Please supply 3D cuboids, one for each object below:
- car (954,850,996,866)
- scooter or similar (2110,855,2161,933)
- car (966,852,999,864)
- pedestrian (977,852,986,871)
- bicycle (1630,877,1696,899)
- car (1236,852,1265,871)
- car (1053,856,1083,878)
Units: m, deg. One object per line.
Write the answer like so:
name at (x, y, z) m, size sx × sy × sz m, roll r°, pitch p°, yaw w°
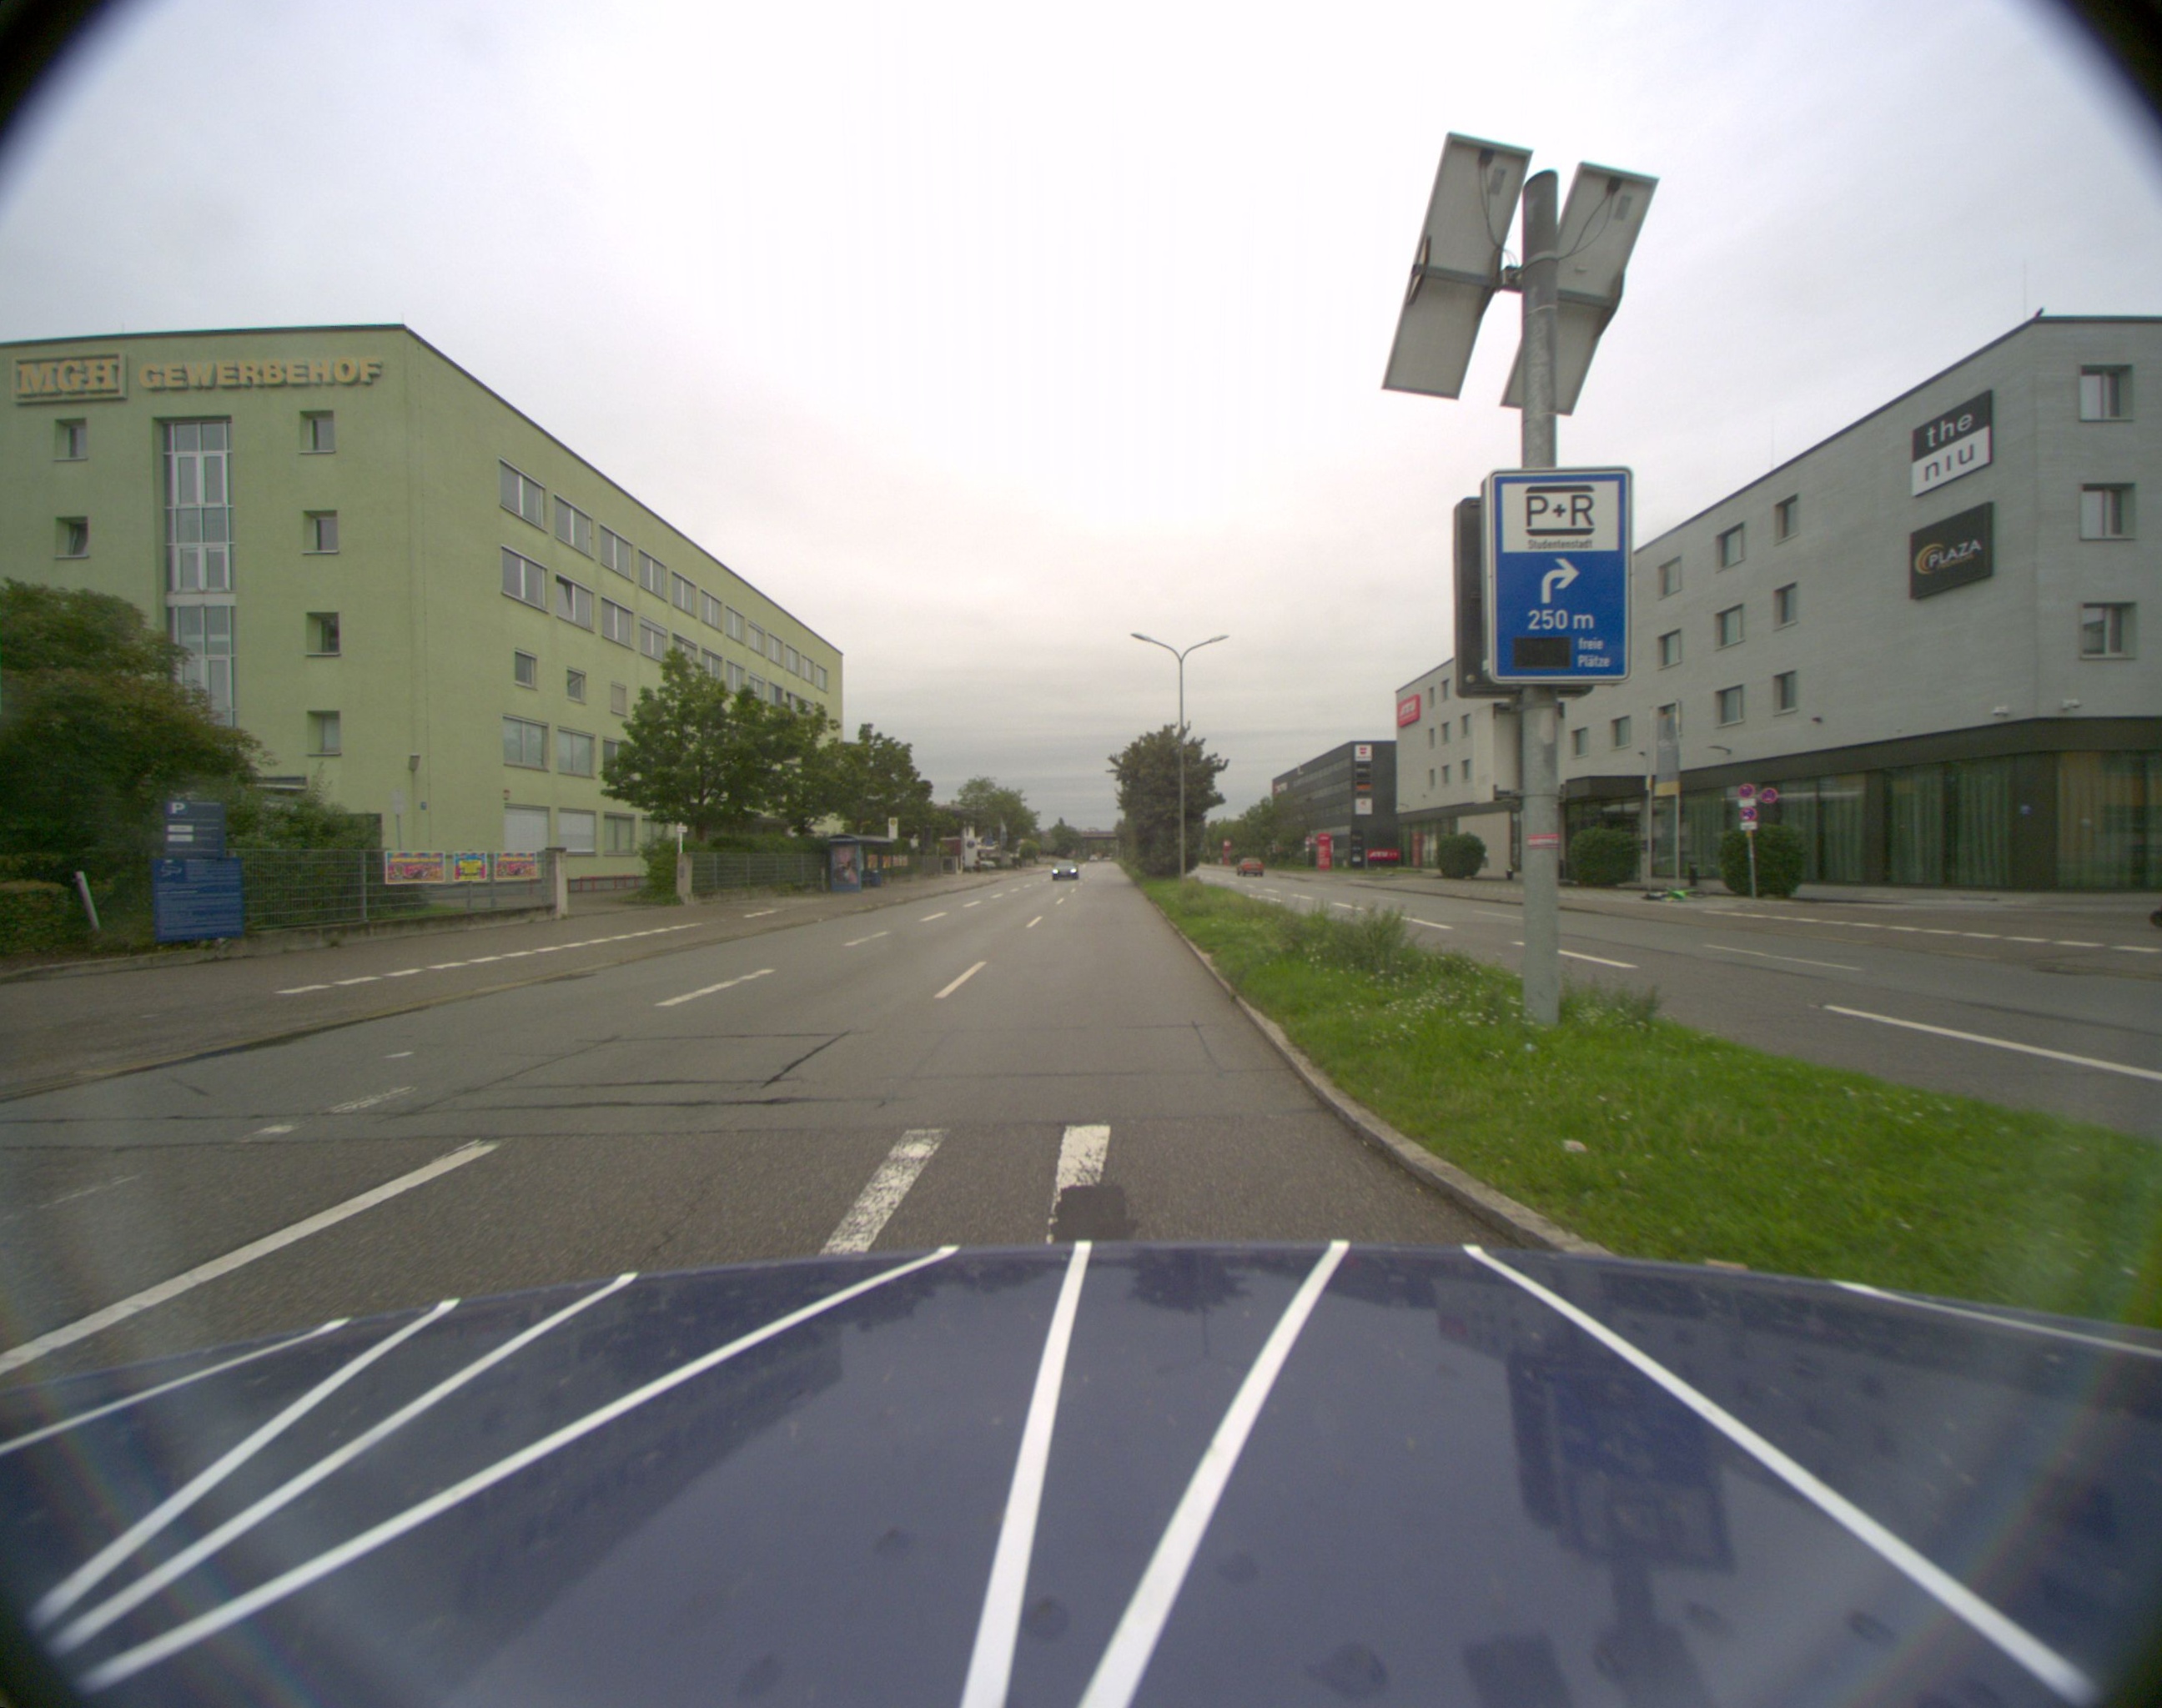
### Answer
car at (-12.693, 0.480, 90.683) m, size 4.651 × 1.832 × 1.798 m, roll -2°, pitch 1°, yaw -20°
scooter or similar at (18.680, 0.688, 12.854) m, size 0.587 × 1.270 × 1.404 m, roll -5°, pitch 0°, yaw 3°
car at (-12.900, 0.530, 99.515) m, size 3.990 × 1.500 × 1.804 m, roll -2°, pitch 1°, yaw 24°
pedestrian at (-9.640, 0.739, 73.562) m, size 0.683 × 1.811 × 0.688 m, roll -2°, pitch 1°, yaw 1°
bicycle at (17.845, 1.041, 23.345) m, size 0.721 × 0.545 × 1.732 m, roll -4°, pitch 0°, yaw 2°
car at (15.111, 0.645, 67.819) m, size 1.740 × 1.539 × 4.304 m, roll 0°, pitch 1°, yaw 2°
car at (-0.929, 0.951, 57.501) m, size 1.916 × 1.498 × 4.440 m, roll -2°, pitch 0°, yaw 3°
